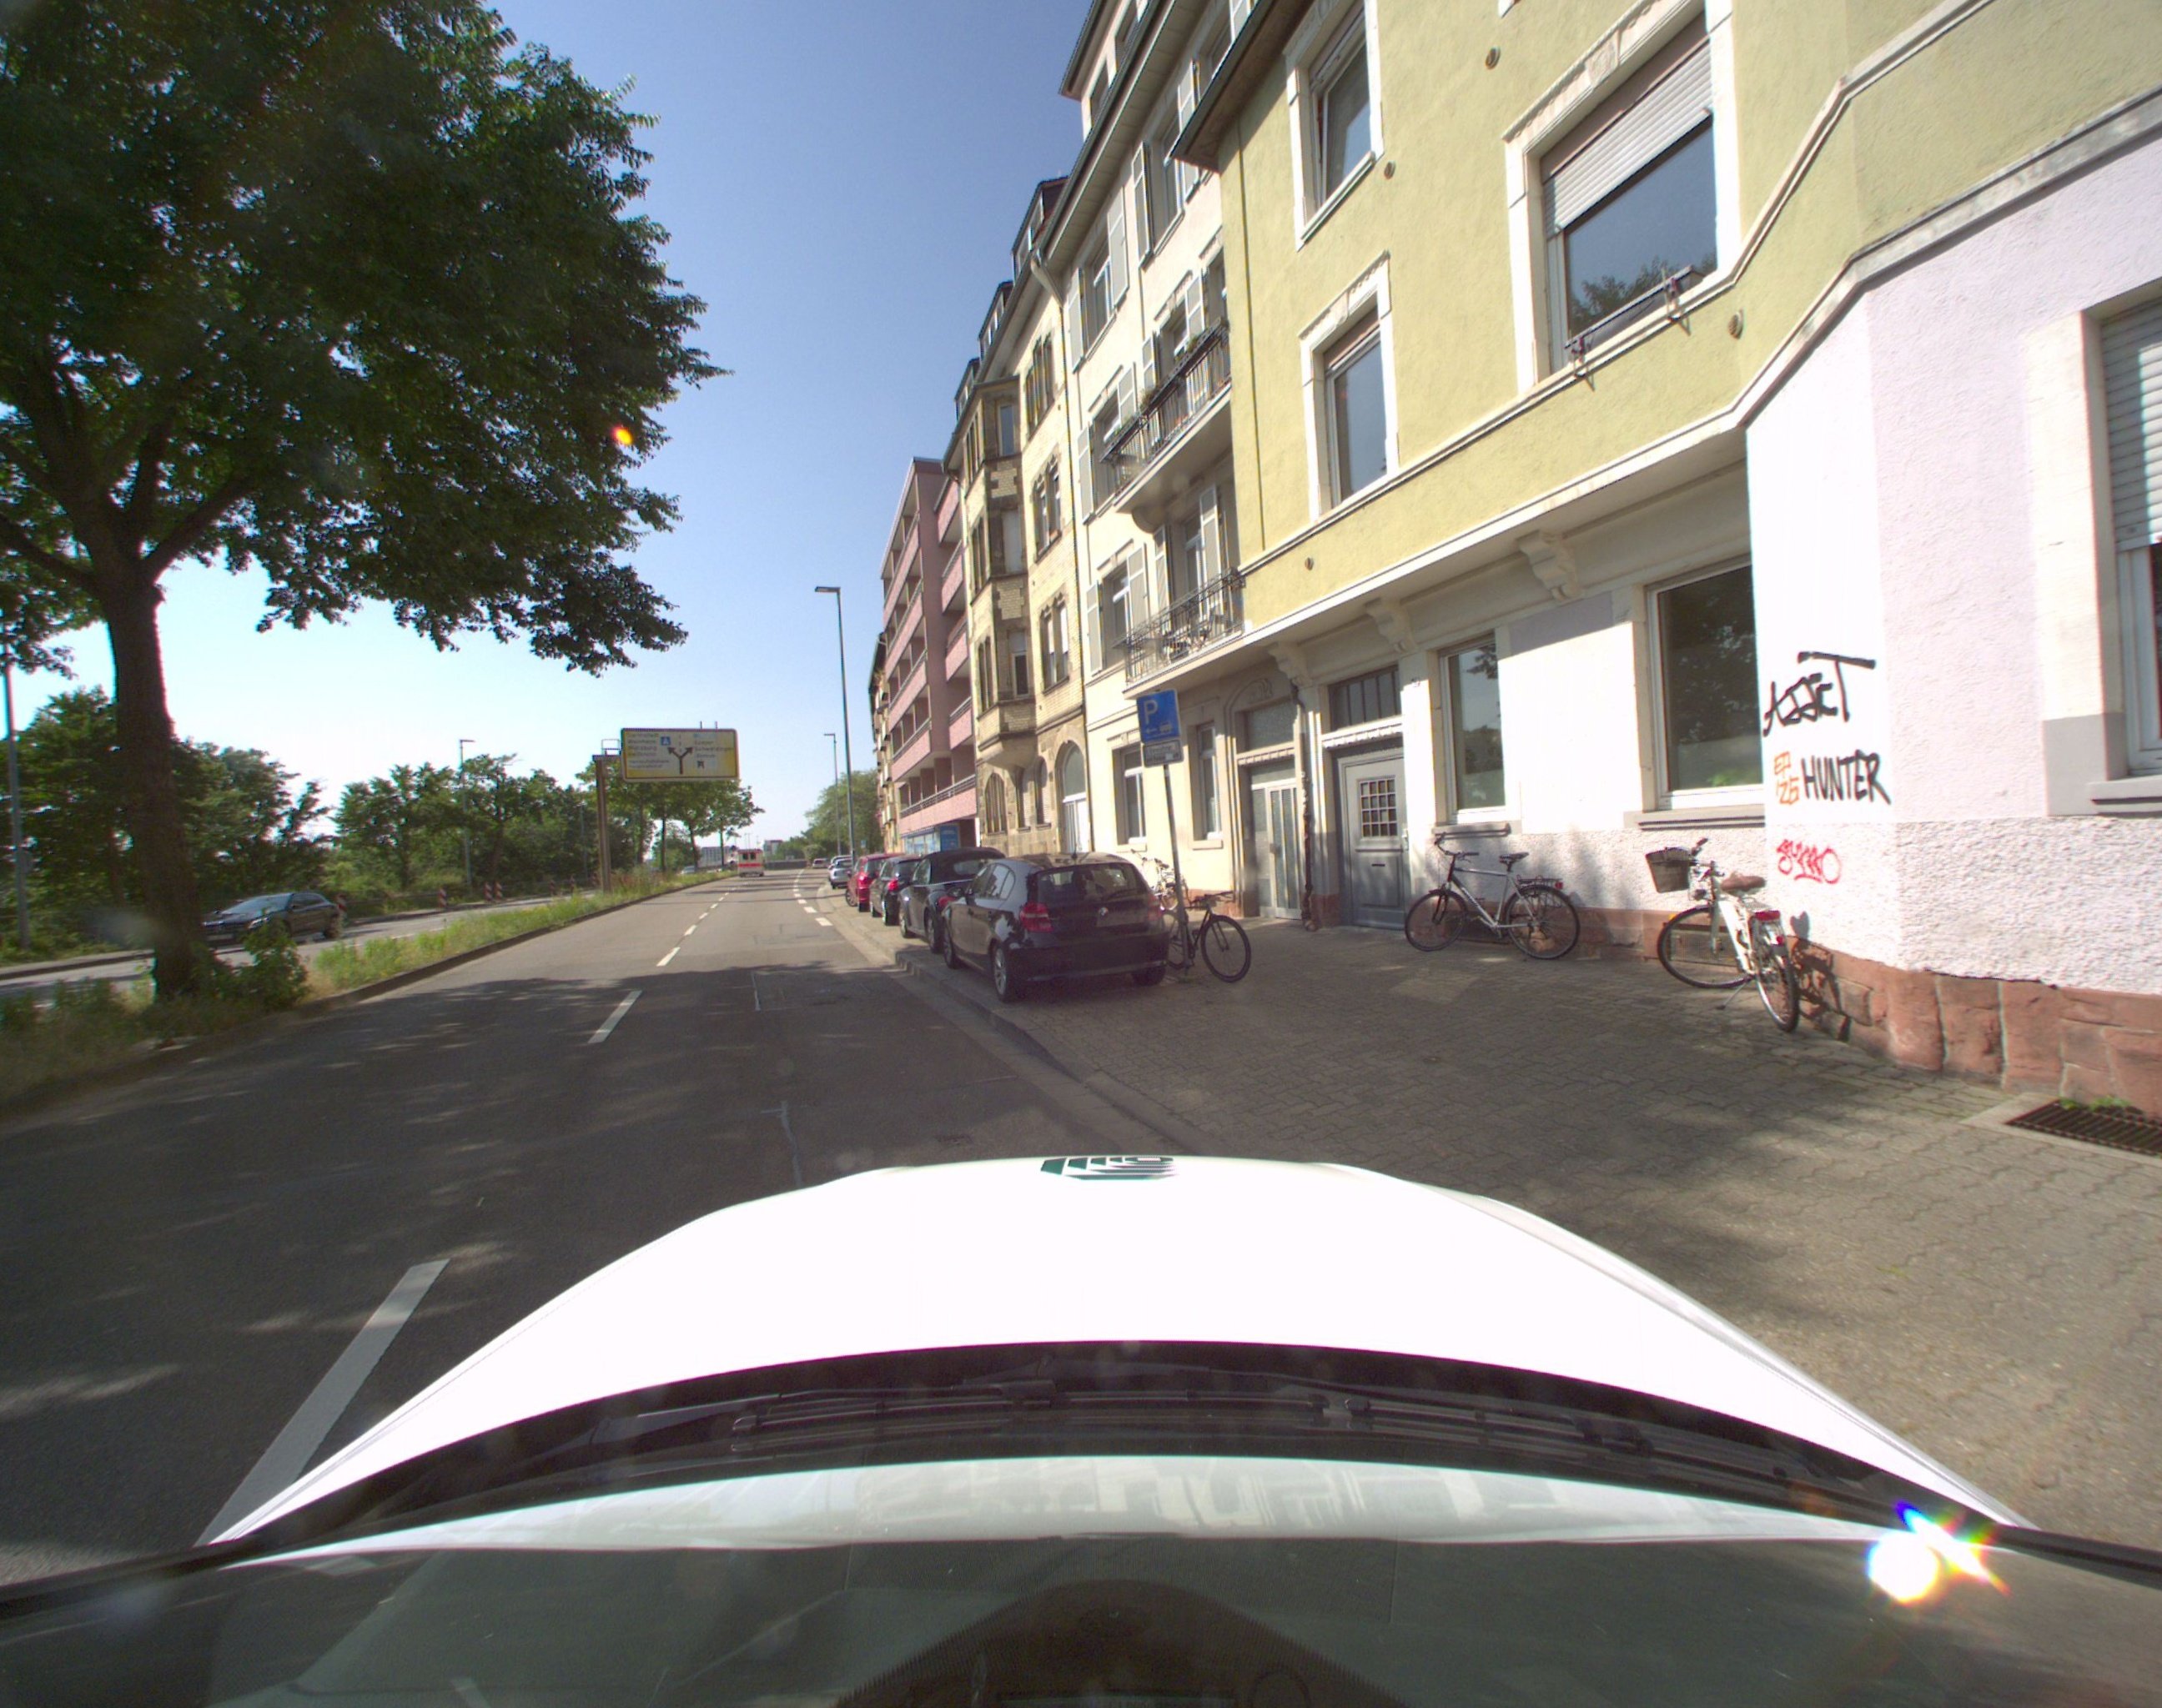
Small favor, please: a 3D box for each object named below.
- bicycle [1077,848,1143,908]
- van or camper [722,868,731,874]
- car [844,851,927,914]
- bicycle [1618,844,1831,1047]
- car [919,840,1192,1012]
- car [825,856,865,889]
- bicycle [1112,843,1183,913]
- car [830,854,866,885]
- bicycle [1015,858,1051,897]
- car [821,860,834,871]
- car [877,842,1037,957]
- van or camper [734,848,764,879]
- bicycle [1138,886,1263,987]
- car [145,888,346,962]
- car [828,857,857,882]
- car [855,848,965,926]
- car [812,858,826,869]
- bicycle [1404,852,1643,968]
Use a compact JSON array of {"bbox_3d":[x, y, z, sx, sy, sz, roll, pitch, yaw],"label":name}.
[{"bbox_3d":[0.583,0.486,17.092,0.658,1.146,1.613,-6,1,-24],"label":"bicycle"},{"bbox_3d":[-87.072,4.102,199.927,1.471,1.350,4.600,-3,0,-19],"label":"van or camper"},{"bbox_3d":[-5.638,0.746,23.114,1.791,1.482,3.974,-5,1,-19],"label":"car"},{"bbox_3d":[4.169,0.513,5.430,0.532,1.046,1.837,-4,2,21],"label":"bicycle"},{"bbox_3d":[-0.548,0.653,9.340,1.748,1.416,4.050,-4,1,-22],"label":"car"},{"bbox_3d":[-11.640,0.871,40.232,1.682,1.408,3.411,-5,1,-16],"label":"car"},{"bbox_3d":[1.237,0.424,15.402,0.568,1.180,1.614,-6,4,-24],"label":"bicycle"},{"bbox_3d":[-12.886,0.823,44.927,1.740,1.541,4.328,-4,1,-17],"label":"car"},{"bbox_3d":[-1.318,0.623,22.130,0.509,0.970,1.642,-4,1,-19],"label":"bicycle"},{"bbox_3d":[-40.805,1.843,131.304,1.775,1.579,4.163,-4,1,-16],"label":"car"},{"bbox_3d":[-2.221,0.667,13.619,1.649,1.501,3.980,-5,1,-22],"label":"car"},{"bbox_3d":[-32.222,0.881,79.139,2.304,2.789,5.534,-4,0,-19],"label":"van or camper"},{"bbox_3d":[1.210,0.822,8.567,0.450,0.891,1.568,-5,1,-25],"label":"bicycle"},{"bbox_3d":[-23.649,1.926,23.357,2.000,1.528,4.668,-5,1,-19],"label":"car"},{"bbox_3d":[-15.906,1.014,54.204,1.761,1.506,4.103,-2,0,-17],"label":"car"},{"bbox_3d":[-3.974,0.686,18.393,1.649,1.452,4.096,-4,1,-22],"label":"car"},{"bbox_3d":[-39.007,1.460,121.426,1.621,1.505,3.446,-2,0,-13],"label":"car"},{"bbox_3d":[4.245,0.492,8.041,0.610,0.945,2.098,-6,1,-23],"label":"bicycle"}]
